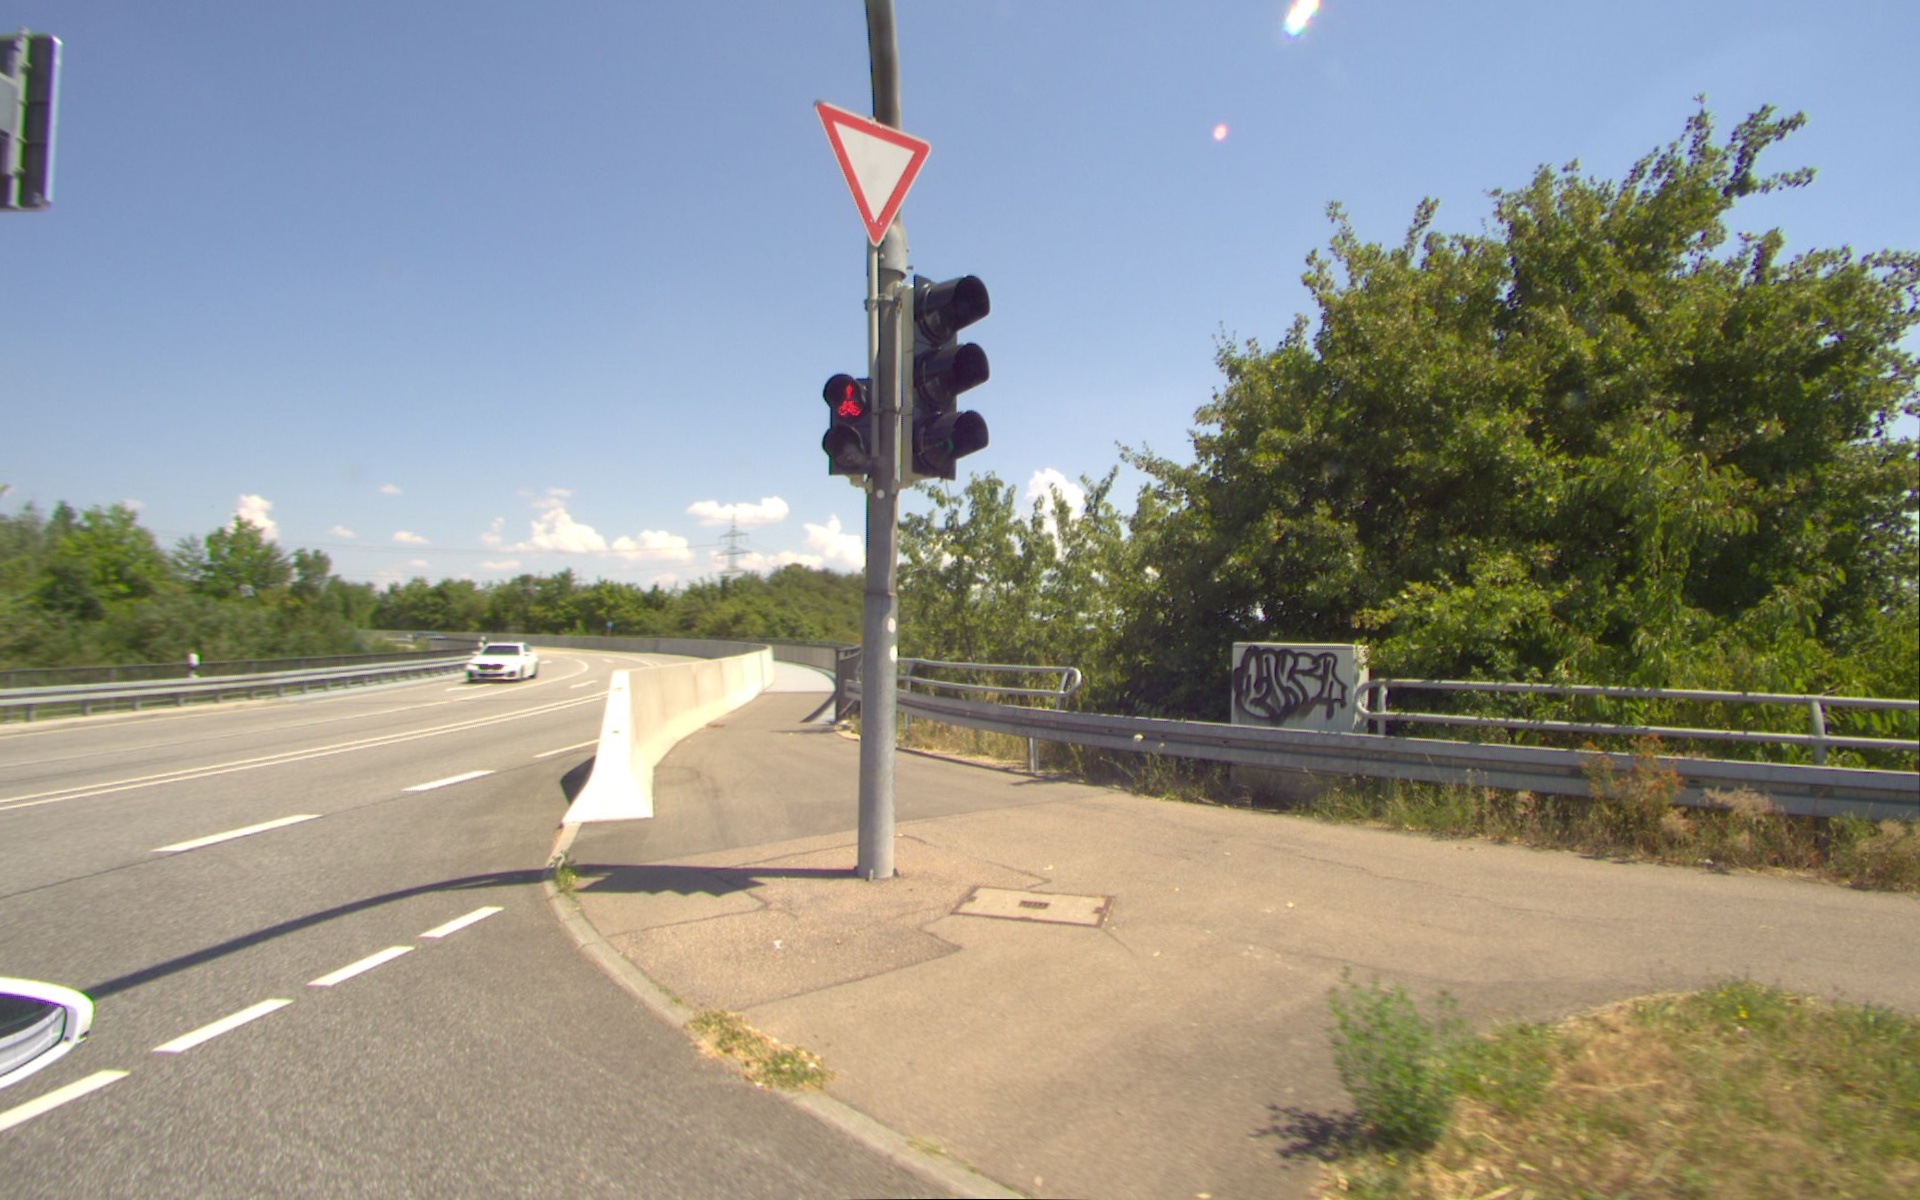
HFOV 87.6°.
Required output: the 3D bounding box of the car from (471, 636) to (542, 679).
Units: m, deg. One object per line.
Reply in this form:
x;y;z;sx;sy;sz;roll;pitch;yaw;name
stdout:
-17.563;2.211;38.946;1.811;1.503;4.832;-1;-2;-16;car
